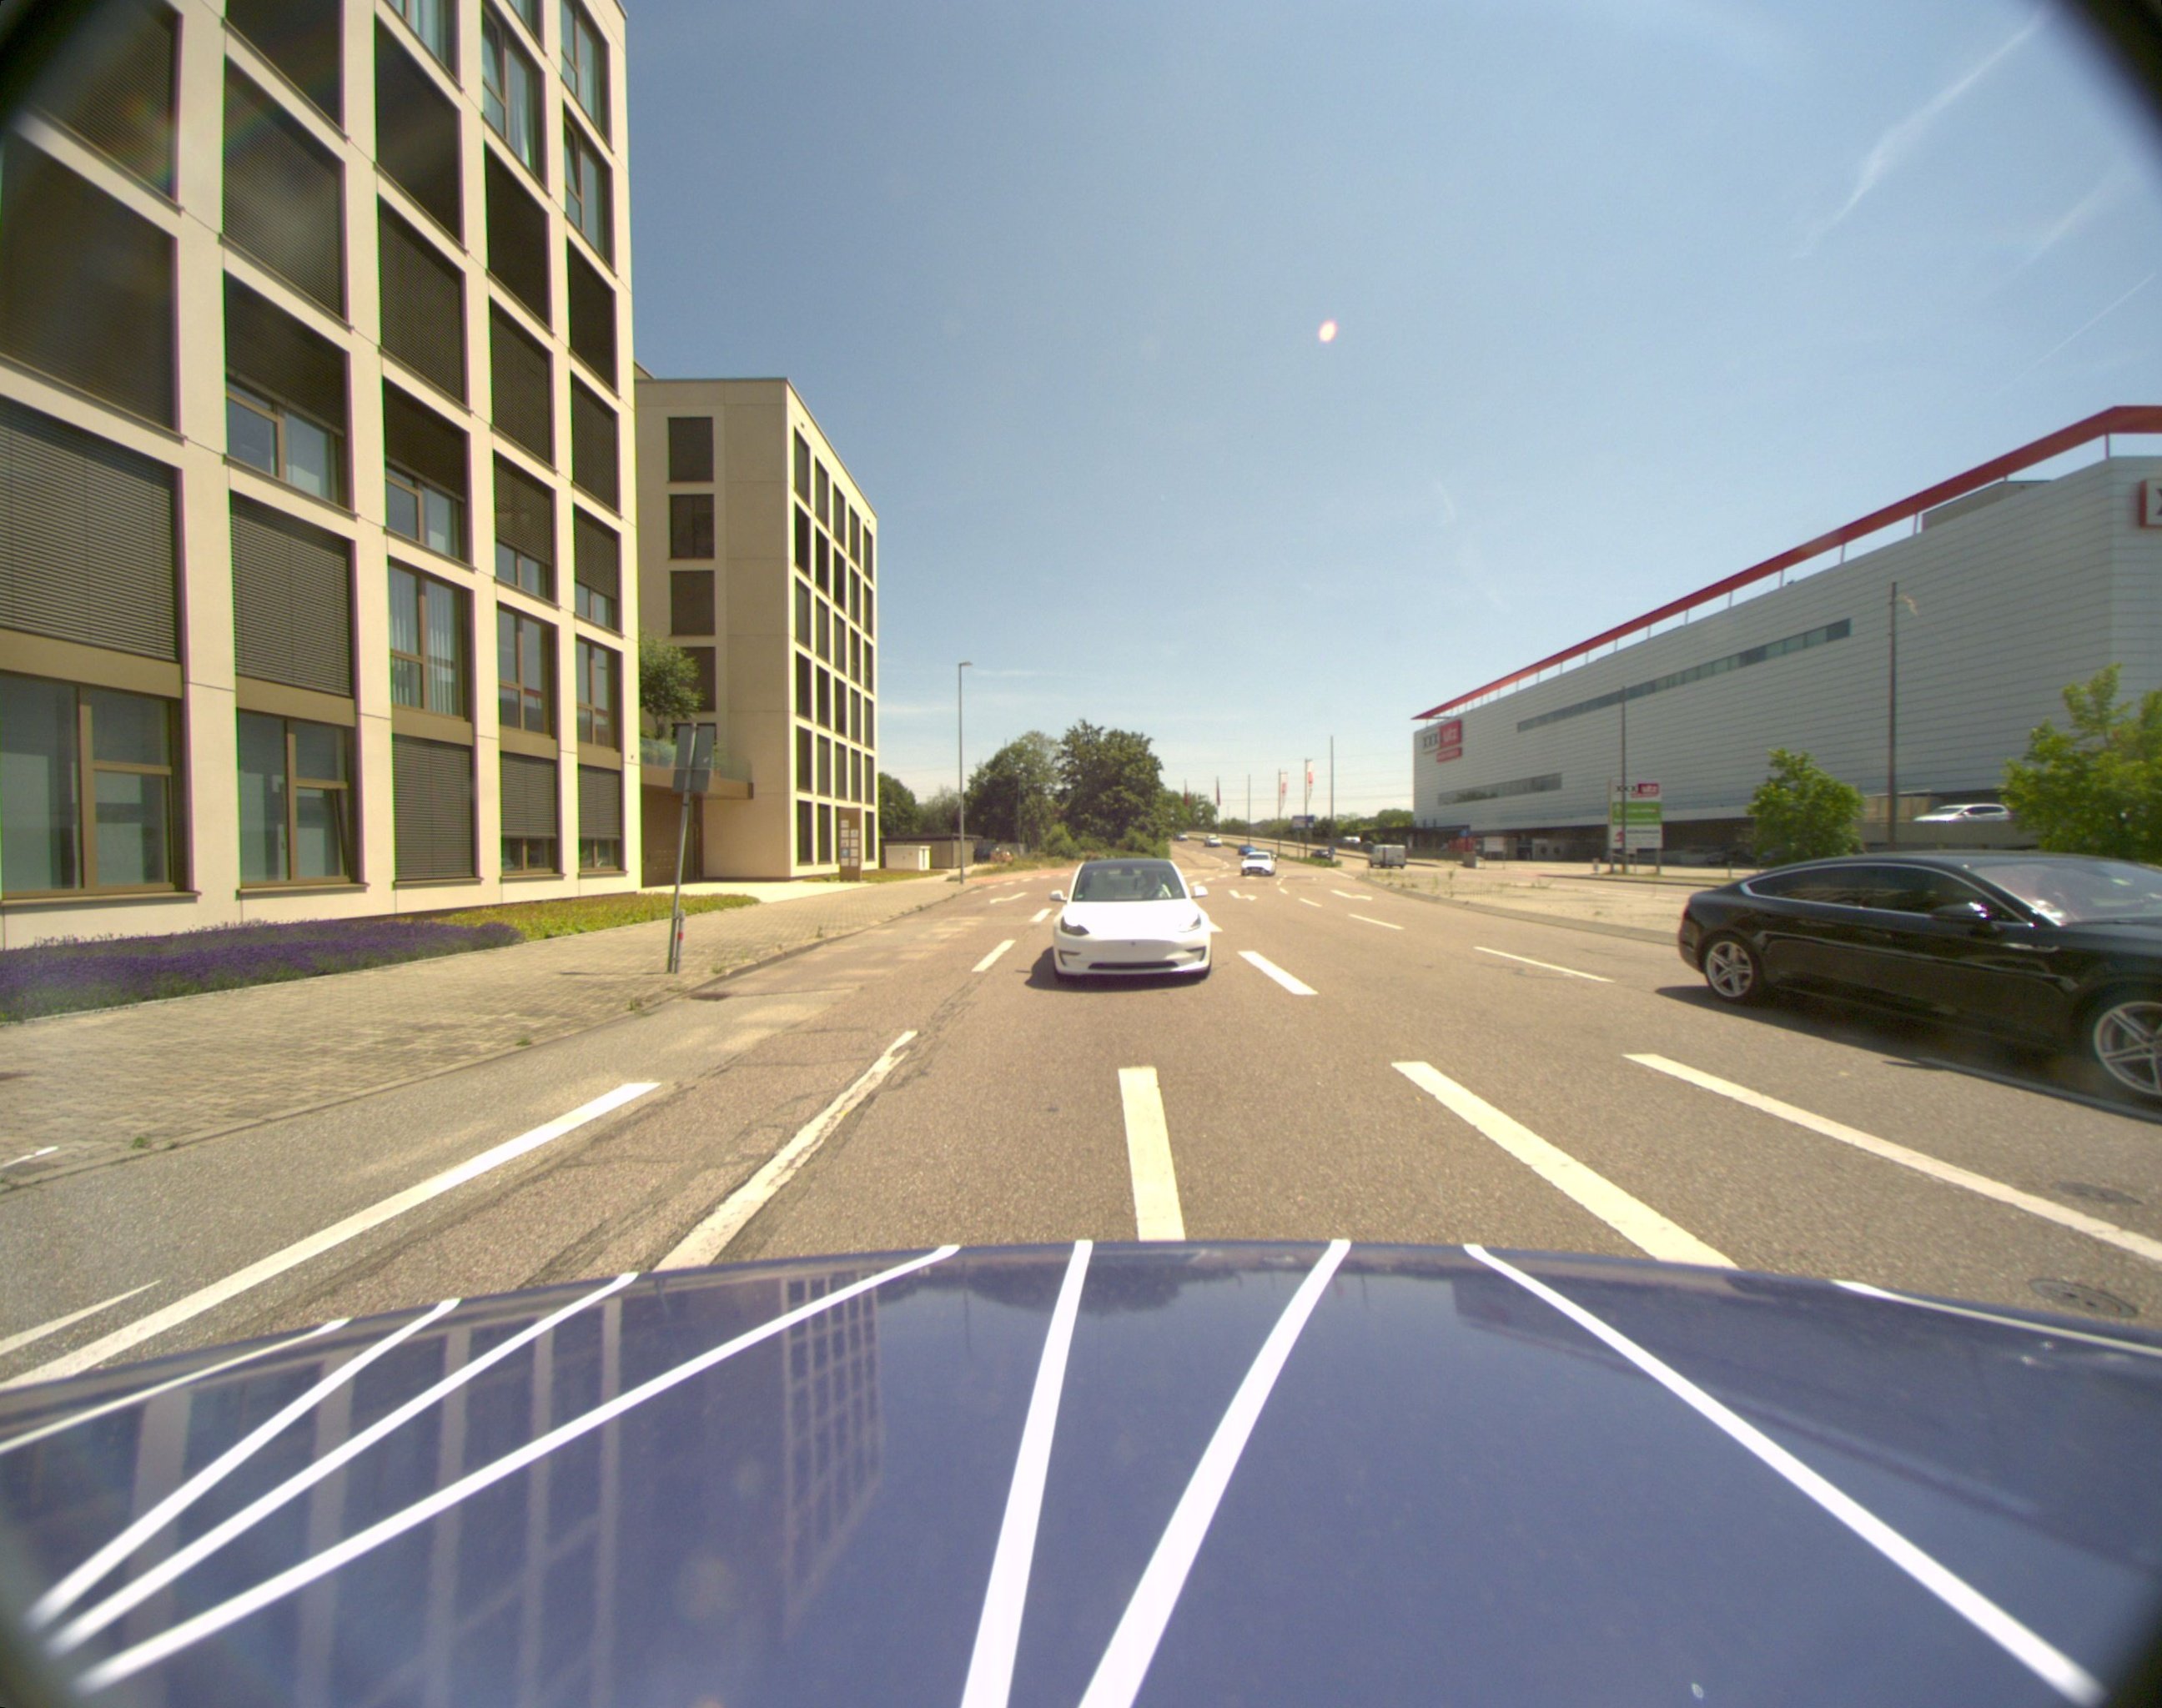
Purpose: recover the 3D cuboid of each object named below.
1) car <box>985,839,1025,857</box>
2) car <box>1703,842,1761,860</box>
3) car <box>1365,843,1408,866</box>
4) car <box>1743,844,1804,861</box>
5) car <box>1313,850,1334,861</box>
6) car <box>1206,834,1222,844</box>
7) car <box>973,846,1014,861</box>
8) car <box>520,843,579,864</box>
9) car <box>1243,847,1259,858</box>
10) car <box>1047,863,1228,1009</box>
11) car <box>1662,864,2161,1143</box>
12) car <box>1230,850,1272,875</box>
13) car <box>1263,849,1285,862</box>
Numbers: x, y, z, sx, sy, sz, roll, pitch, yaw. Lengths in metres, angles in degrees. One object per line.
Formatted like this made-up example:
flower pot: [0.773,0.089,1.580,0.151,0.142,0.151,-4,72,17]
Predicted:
car: [-8.605,-0.683,85.908,4.005,1.942,1.996,0,1,-24]
car: [60.922,-0.267,71.124,3.746,1.611,1.912,0,1,1]
car: [25.861,0.002,64.522,1.835,1.840,4.840,0,1,1]
car: [61.330,-0.144,67.328,3.482,1.487,1.959,0,1,2]
car: [28.400,0.143,89.077,1.859,1.295,3.896,1,1,10]
car: [21.545,-2.435,123.124,1.679,1.566,4.055,-1,1,-2]
car: [-9.443,-0.079,81.901,4.005,1.652,1.834,0,1,-23]
car: [-47.002,-0.081,67.264,1.997,1.841,4.003,0,1,10]
car: [23.151,-0.245,103.620,1.800,1.405,4.409,-1,0,8]
car: [0.554,0.897,10.280,1.880,1.417,4.405,-2,0,-1]
car: [6.586,0.809,5.290,1.752,1.382,4.534,-1,0,3]
car: [10.469,0.492,47.061,1.735,1.441,4.230,0,0,0]
car: [22.208,0.162,87.650,1.801,1.369,4.408,0,0,6]
